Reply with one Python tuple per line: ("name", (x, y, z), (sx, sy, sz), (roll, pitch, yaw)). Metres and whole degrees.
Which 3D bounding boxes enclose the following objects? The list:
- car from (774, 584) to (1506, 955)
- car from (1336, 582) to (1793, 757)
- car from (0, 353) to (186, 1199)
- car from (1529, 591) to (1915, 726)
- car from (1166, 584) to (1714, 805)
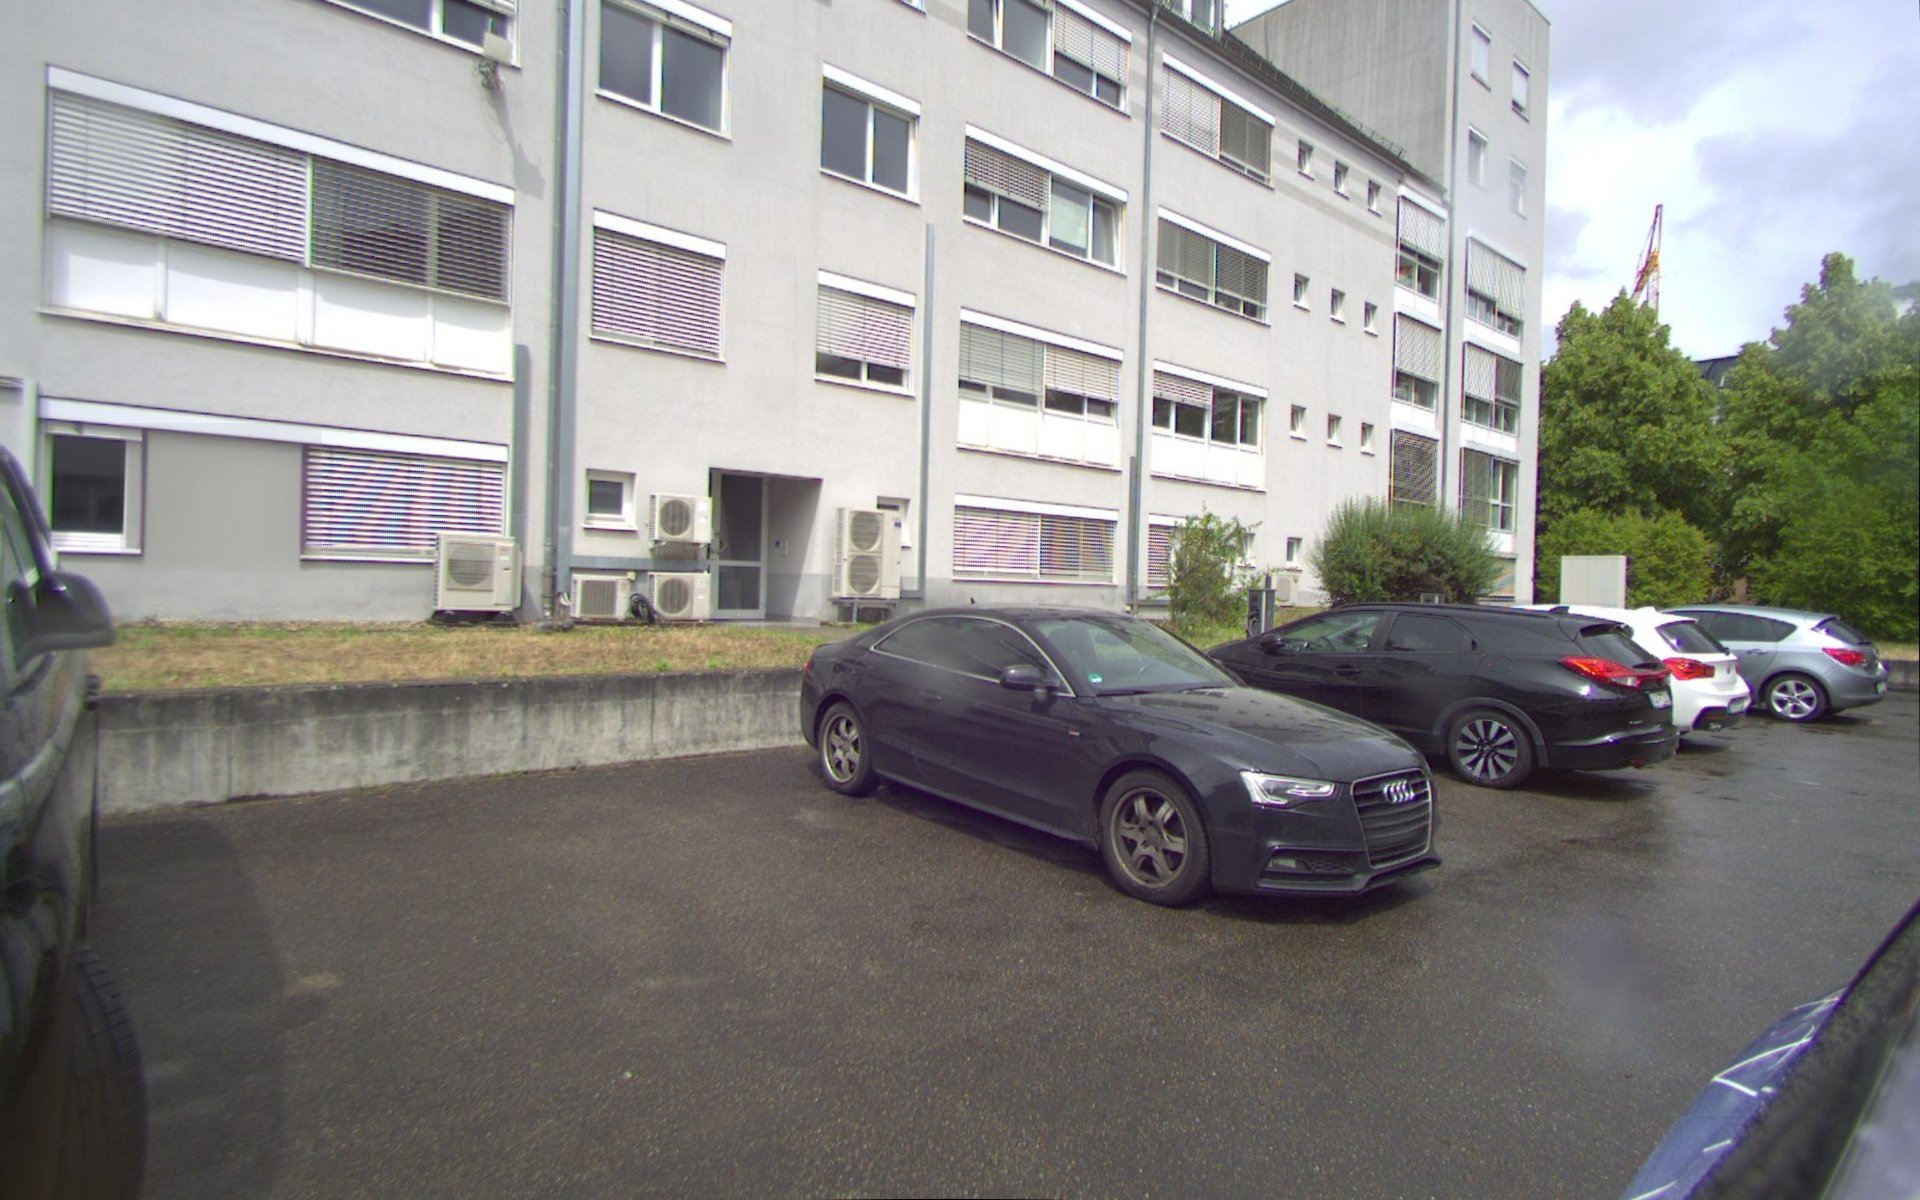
("car", (0.749, 0.683, 6.390), (1.827, 1.365, 4.363), (2, 2, -40))
("car", (6.716, 0.634, 11.647), (1.799, 1.473, 4.110), (1, 2, -38))
("car", (-3.539, 0.436, 2.715), (2.073, 1.856, 4.720), (1, 3, -40))
("car", (10.683, 0.693, 14.473), (1.637, 1.475, 4.092), (0, 3, -37))
("car", (4.205, 0.650, 9.431), (1.905, 1.418, 4.179), (0, 3, -40))
